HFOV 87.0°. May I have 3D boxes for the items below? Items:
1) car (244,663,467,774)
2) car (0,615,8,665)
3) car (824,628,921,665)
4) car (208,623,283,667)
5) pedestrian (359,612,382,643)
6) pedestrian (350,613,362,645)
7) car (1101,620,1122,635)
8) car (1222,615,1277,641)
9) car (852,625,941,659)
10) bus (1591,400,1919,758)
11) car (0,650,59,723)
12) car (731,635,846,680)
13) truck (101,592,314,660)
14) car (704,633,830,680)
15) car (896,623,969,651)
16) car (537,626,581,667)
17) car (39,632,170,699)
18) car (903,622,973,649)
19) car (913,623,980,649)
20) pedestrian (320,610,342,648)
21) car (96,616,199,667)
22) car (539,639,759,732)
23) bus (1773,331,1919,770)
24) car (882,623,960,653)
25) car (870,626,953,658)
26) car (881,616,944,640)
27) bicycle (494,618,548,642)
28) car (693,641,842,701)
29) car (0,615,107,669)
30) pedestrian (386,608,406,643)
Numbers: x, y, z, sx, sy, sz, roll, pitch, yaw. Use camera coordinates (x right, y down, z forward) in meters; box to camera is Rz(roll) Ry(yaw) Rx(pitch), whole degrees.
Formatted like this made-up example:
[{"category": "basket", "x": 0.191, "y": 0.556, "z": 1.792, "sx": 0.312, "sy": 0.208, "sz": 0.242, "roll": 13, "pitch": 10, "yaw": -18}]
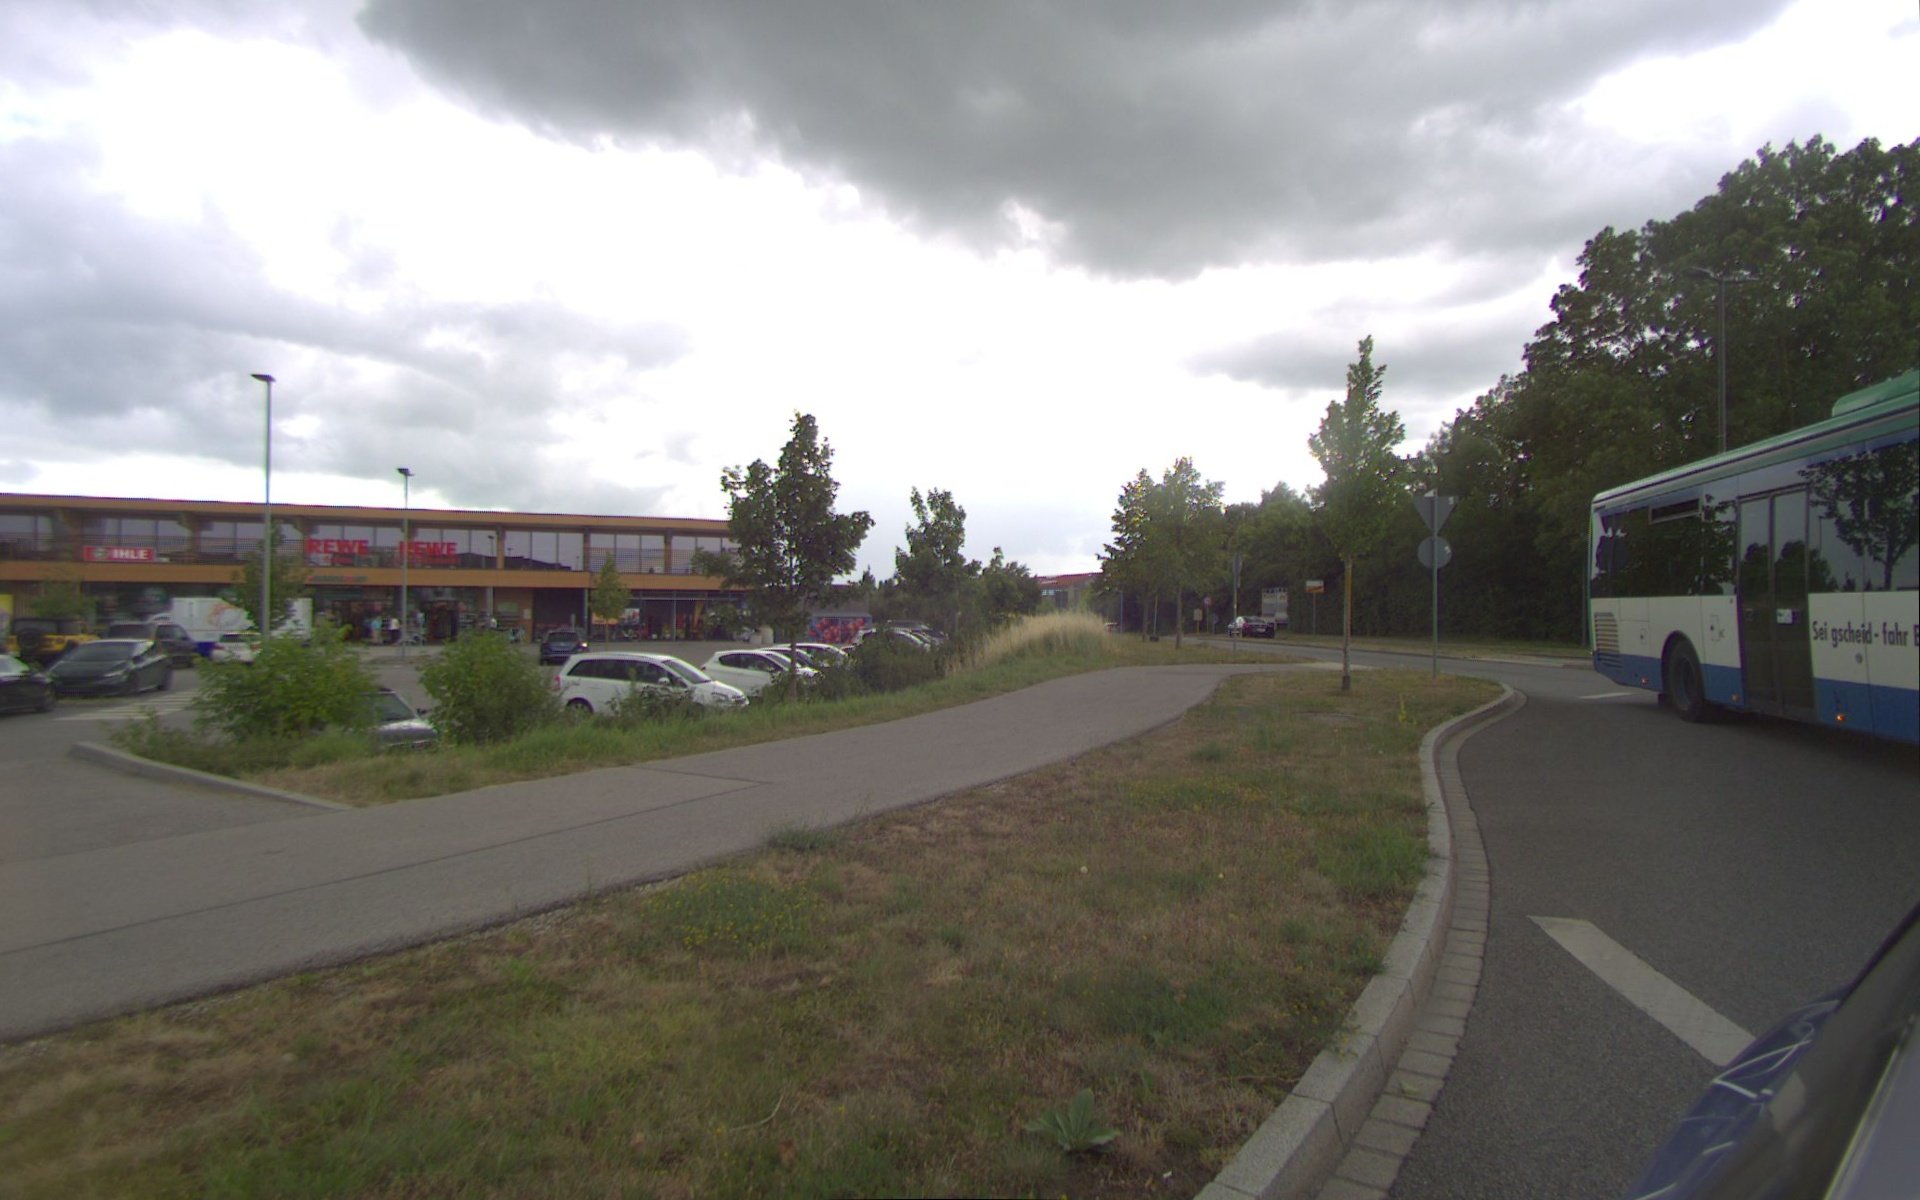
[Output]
[{"category": "car", "x": -9.448, "y": 1.756, "z": 15.749, "sx": 3.705, "sy": 1.390, "sz": 1.562, "roll": -1, "pitch": -1, "yaw": 34}, {"category": "car", "x": -36.524, "y": 1.495, "z": 36.621, "sx": 1.735, "sy": 1.878, "sz": 4.007, "roll": 0, "pitch": 0, "yaw": -24}, {"category": "car", "x": -3.715, "y": 1.945, "z": 43.070, "sx": 3.829, "sy": 1.483, "sz": 1.691, "roll": 0, "pitch": 0, "yaw": 12}, {"category": "car", "x": -27.964, "y": 1.723, "z": 39.724, "sx": 1.696, "sy": 1.549, "sz": 4.007, "roll": 0, "pitch": 0, "yaw": -25}, {"category": "pedestrian", "x": -32.367, "y": 1.529, "z": 55.589, "sx": 0.794, "sy": 1.678, "sz": 0.746, "roll": 0, "pitch": -1, "yaw": 18}, {"category": "pedestrian", "x": -37.637, "y": 1.780, "z": 63.038, "sx": 0.567, "sy": 1.973, "sz": 0.525, "roll": 0, "pitch": -1, "yaw": -35}, {"category": "car", "x": 16.156, "y": 2.904, "z": 107.870, "sx": 1.612, "sy": 1.524, "sz": 3.582, "roll": 0, "pitch": 0, "yaw": -1}, {"category": "car", "x": 16.410, "y": 1.558, "z": 57.500, "sx": 1.795, "sy": 1.324, "sz": 4.115, "roll": 1, "pitch": 0, "yaw": -2}, {"category": "car", "x": -2.923, "y": 1.927, "z": 47.006, "sx": 3.829, "sy": 1.483, "sz": 1.691, "roll": 0, "pitch": 0, "yaw": 12}, {"category": "bus", "x": 9.737, "y": -0.255, "z": 11.905, "sx": 2.490, "sy": 3.298, "sz": 5.434, "roll": 1, "pitch": 1, "yaw": 16}, {"category": "car", "x": -21.586, "y": 1.902, "z": 22.022, "sx": 1.798, "sy": 1.416, "sz": 4.007, "roll": 0, "pitch": 0, "yaw": -24}, {"category": "car", "x": -5.873, "y": 1.964, "z": 34.768, "sx": 3.614, "sy": 1.309, "sz": 1.414, "roll": 0, "pitch": 5, "yaw": 8}, {"category": "truck", "x": -33.192, "y": 1.093, "z": 45.062, "sx": 7.107, "sy": 2.843, "sz": 2.981, "roll": 0, "pitch": 0, "yaw": -24}, {"category": "car", "x": -5.916, "y": 1.719, "z": 31.305, "sx": 3.604, "sy": 1.311, "sz": 1.717, "roll": -1, "pitch": 0, "yaw": -2}, {"category": "car", "x": -1.525, "y": 2.056, "z": 56.945, "sx": 3.829, "sy": 1.483, "sz": 1.691, "roll": 0, "pitch": 0, "yaw": 12}, {"category": "car", "x": -17.183, "y": 1.949, "z": 43.351, "sx": 1.680, "sy": 1.588, "sz": 3.677, "roll": 0, "pitch": 0, "yaw": -22}, {"category": "car", "x": -23.325, "y": 1.715, "z": 27.753, "sx": 1.696, "sy": 1.573, "sz": 4.006, "roll": 0, "pitch": 0, "yaw": -25}, {"category": "car", "x": -1.256, "y": 2.061, "z": 59.191, "sx": 3.829, "sy": 1.483, "sz": 1.691, "roll": 0, "pitch": 0, "yaw": 12}, {"category": "car", "x": -0.798, "y": 2.153, "z": 60.963, "sx": 3.829, "sy": 1.483, "sz": 1.691, "roll": 0, "pitch": 0, "yaw": 12}, {"category": "pedestrian", "x": -34.816, "y": 1.598, "z": 56.006, "sx": 0.913, "sy": 2.039, "sz": 0.807, "roll": 0, "pitch": -1, "yaw": -25}, {"category": "car", "x": -30.704, "y": 1.533, "z": 38.366, "sx": 1.813, "sy": 1.747, "sz": 4.128, "roll": -1, "pitch": 0, "yaw": -20}, {"category": "car", "x": -6.956, "y": 1.878, "z": 22.838, "sx": 4.369, "sy": 1.694, "sz": 1.797, "roll": 2, "pitch": 1, "yaw": 7}, {"category": "bus", "x": 8.098, "y": -0.335, "z": 6.183, "sx": 2.490, "sy": 3.298, "sz": 6.516, "roll": 1, "pitch": 1, "yaw": 16}, {"category": "car", "x": -2.036, "y": 2.002, "z": 53.188, "sx": 3.829, "sy": 1.483, "sz": 1.691, "roll": 0, "pitch": 0, "yaw": 12}, {"category": "car", "x": -2.393, "y": 2.051, "z": 50.069, "sx": 3.829, "sy": 1.483, "sz": 1.691, "roll": 0, "pitch": 0, "yaw": 12}, {"category": "car", "x": -3.044, "y": 1.781, "z": 64.014, "sx": 3.921, "sy": 1.462, "sz": 1.885, "roll": 0, "pitch": 0, "yaw": -3}, {"category": "bicycle", "x": -25.635, "y": 1.726, "z": 59.152, "sx": 2.809, "sy": 1.326, "sz": 0.981, "roll": 0, "pitch": -1, "yaw": -21}, {"category": "car", "x": -5.470, "y": 2.010, "z": 29.134, "sx": 3.924, "sy": 1.527, "sz": 2.000, "roll": -1, "pitch": 0, "yaw": 0}, {"category": "car", "x": -33.844, "y": 1.515, "z": 37.799, "sx": 1.735, "sy": 1.878, "sz": 4.007, "roll": 0, "pitch": -1, "yaw": -20}, {"category": "pedestrian", "x": -31.250, "y": 1.403, "z": 56.077, "sx": 0.777, "sy": 1.923, "sz": 0.930, "roll": 0, "pitch": -3, "yaw": -16}]
